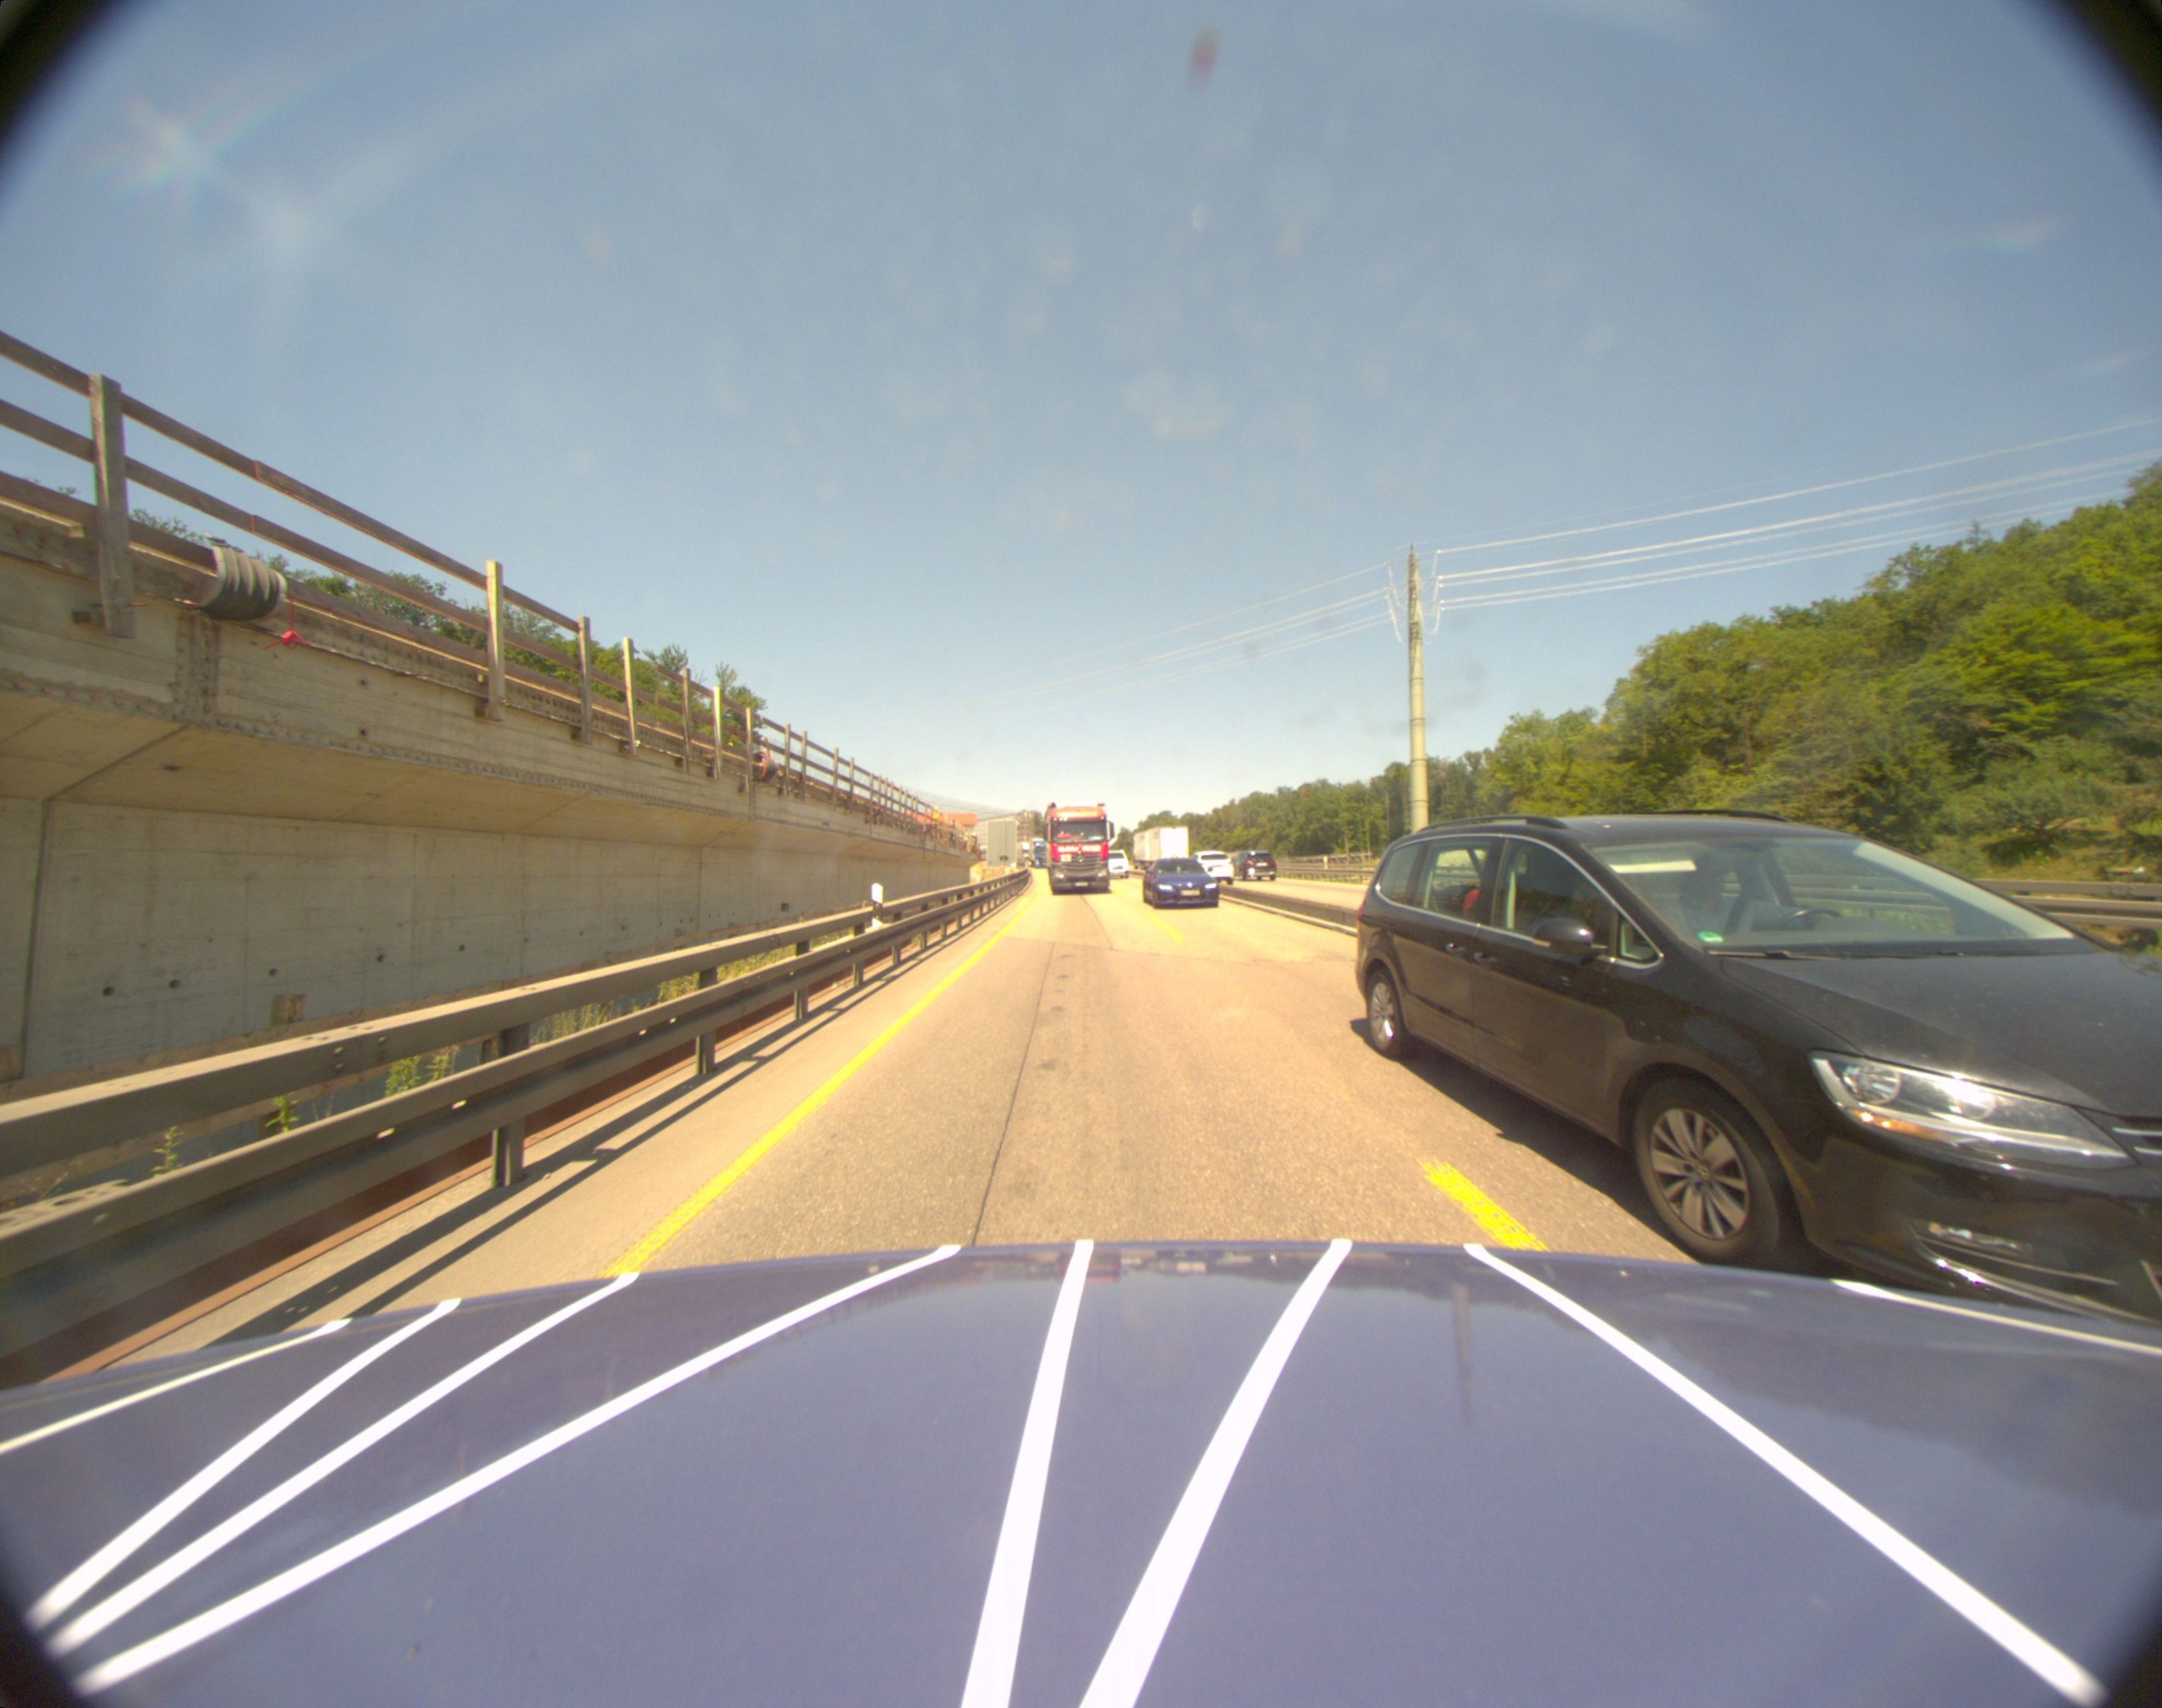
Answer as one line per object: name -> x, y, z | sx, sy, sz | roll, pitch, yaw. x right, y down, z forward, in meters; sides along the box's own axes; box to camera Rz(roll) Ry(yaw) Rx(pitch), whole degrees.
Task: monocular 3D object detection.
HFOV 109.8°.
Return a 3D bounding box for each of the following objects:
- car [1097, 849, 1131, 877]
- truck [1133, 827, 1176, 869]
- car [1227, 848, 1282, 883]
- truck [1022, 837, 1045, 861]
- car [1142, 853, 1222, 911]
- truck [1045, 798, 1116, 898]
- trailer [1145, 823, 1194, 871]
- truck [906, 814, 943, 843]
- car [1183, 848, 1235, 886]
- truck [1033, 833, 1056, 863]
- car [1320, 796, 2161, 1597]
car -> 2.227, 0.622, 53.206 | 1.947, 1.858, 5.222 | -1, 0, -2
truck -> 7.749, -0.595, 81.310 | 2.986, 4.138, 10.542 | -2, 0, -3
car -> 9.635, 0.598, 42.555 | 1.910, 1.732, 4.660 | -2, 1, -1
truck -> -9.116, -0.989, 144.202 | 2.912, 4.208, 9.229 | -2, 1, -12
car -> 2.964, 0.785, 23.308 | 1.896, 1.546, 4.786 | -1, 0, 1
truck -> -0.195, -0.353, 36.041 | 2.799, 3.986, 10.425 | -2, 1, -2
trailer -> 8.199, -0.629, 71.534 | 3.012, 4.141, 9.014 | -2, 0, -3
truck -> -22.097, -3.611, 107.368 | 2.714, 3.672, 5.720 | -1, -2, 17
car -> 6.331, 0.603, 38.003 | 1.754, 1.677, 4.386 | -2, 1, -1
truck -> -5.236, -0.731, 107.372 | 2.673, 3.985, 10.424 | -2, 0, -5
car -> 3.066, 0.717, 4.245 | 1.861, 1.695, 5.304 | -1, 0, 1
